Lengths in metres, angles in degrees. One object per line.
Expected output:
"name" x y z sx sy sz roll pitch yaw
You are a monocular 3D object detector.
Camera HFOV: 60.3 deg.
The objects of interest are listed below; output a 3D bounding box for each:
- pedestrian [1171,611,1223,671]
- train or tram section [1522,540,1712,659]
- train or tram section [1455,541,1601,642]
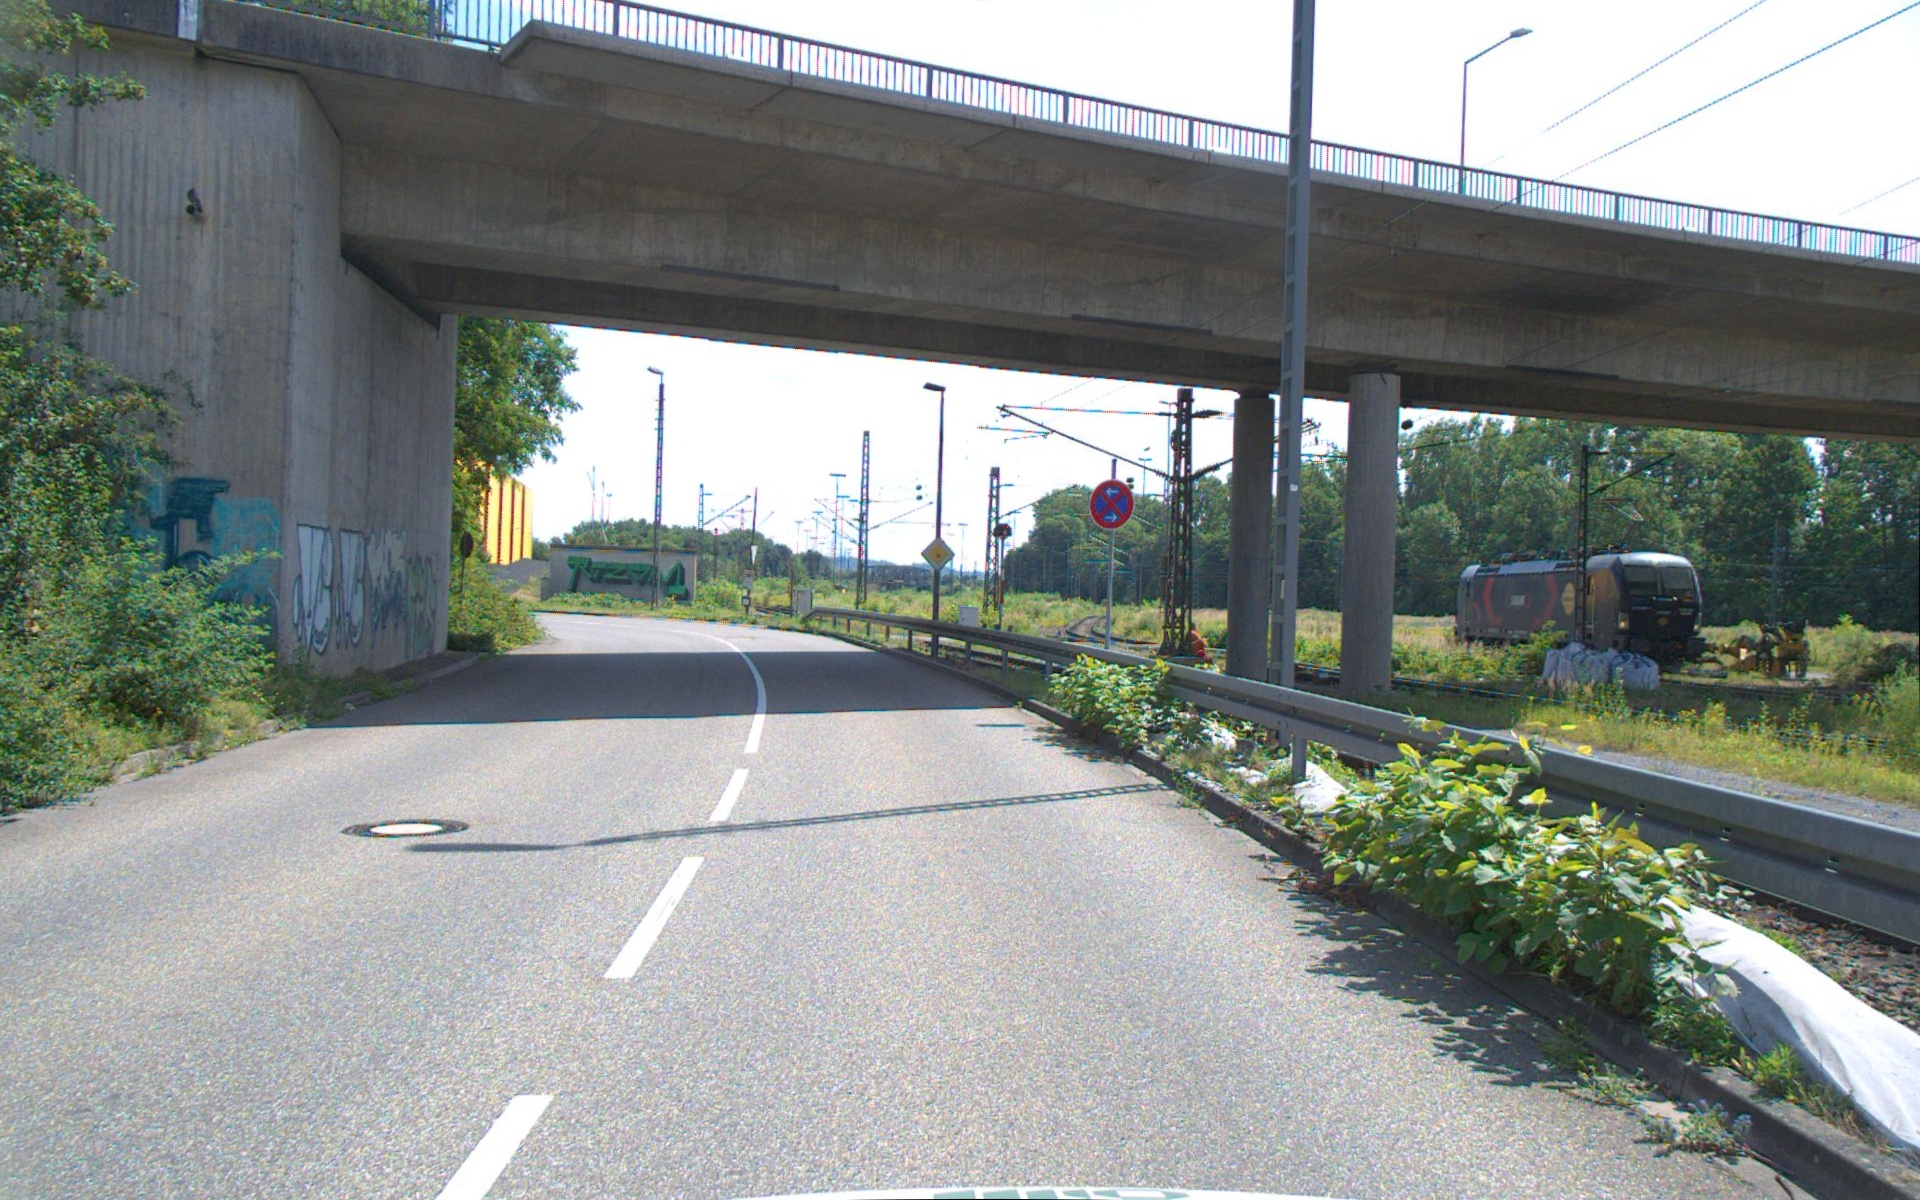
"pedestrian" 6.401 1.085 44.766 1.088 1.567 1.578 1 0 -3
"train or tram section" 21.442 0.007 54.605 2.831 3.570 8.565 1 0 0
"train or tram section" 21.457 -0.288 63.052 2.699 3.538 8.238 1 0 0
